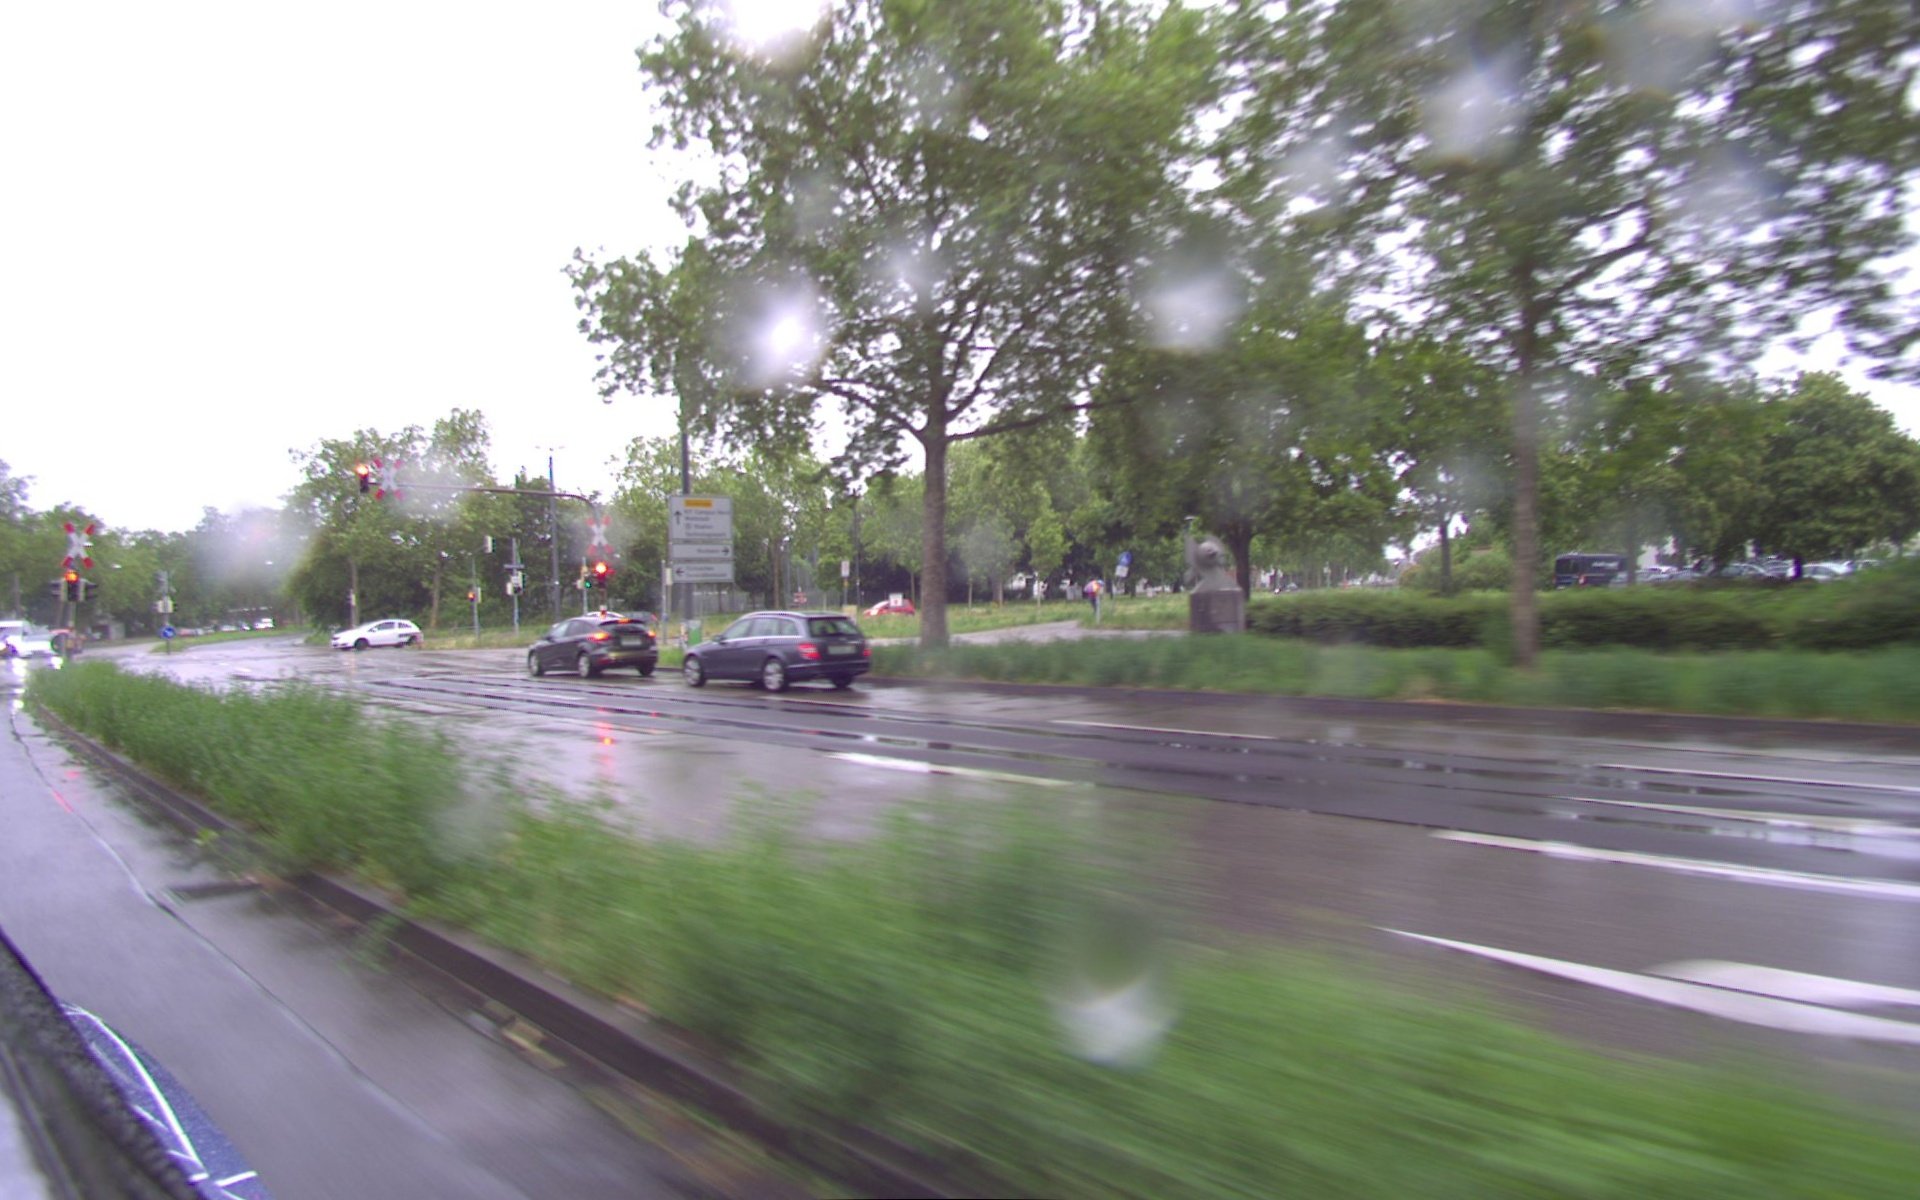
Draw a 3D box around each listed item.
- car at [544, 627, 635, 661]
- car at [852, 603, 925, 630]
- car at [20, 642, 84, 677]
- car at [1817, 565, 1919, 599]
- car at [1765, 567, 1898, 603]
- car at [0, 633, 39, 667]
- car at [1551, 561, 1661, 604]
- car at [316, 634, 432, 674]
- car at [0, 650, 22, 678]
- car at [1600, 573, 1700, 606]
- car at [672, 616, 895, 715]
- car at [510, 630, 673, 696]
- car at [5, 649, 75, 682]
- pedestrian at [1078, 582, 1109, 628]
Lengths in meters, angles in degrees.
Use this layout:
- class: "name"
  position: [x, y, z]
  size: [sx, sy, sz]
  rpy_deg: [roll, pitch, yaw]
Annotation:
- class: "car"
  position: [-20.708, 2.402, 56.569]
  size: [4.427, 1.642, 2.006]
  rpy_deg: [-2, 0, -30]
- class: "car"
  position: [-4.794, 1.122, 68.146]
  size: [4.445, 1.642, 2.006]
  rpy_deg: [-2, 0, -30]
- class: "car"
  position: [-56.677, 3.673, 63.275]
  size: [1.966, 1.901, 4.536]
  rpy_deg: [-2, 0, -29]
- class: "car"
  position: [56.985, -1.090, 63.480]
  size: [1.966, 1.916, 4.512]
  rpy_deg: [-2, 0, -17]
- class: "car"
  position: [42.275, -0.702, 49.230]
  size: [1.966, 1.549, 4.512]
  rpy_deg: [-2, 0, -17]
- class: "car"
  position: [-64.311, 3.370, 68.317]
  size: [1.966, 2.124, 5.159]
  rpy_deg: [-2, 0, -29]
- class: "car"
  position: [36.048, -0.956, 56.480]
  size: [5.325, 2.190, 2.006]
  rpy_deg: [-2, 0, -15]
- class: "car"
  position: [-28.552, 2.584, 49.388]
  size: [1.997, 1.642, 4.465]
  rpy_deg: [-2, 0, 37]
- class: "car"
  position: [-60.597, 4.036, 63.122]
  size: [1.966, 1.642, 4.536]
  rpy_deg: [-2, 0, -29]
- class: "car"
  position: [36.812, -0.553, 54.047]
  size: [4.422, 1.549, 2.006]
  rpy_deg: [-2, 0, -16]
- class: "car"
  position: [-3.487, 1.194, 19.491]
  size: [4.331, 1.643, 1.972]
  rpy_deg: [-2, 0, 42]
- class: "car"
  position: [-9.150, 1.498, 24.949]
  size: [4.331, 1.384, 1.972]
  rpy_deg: [-2, 0, 42]
- class: "car"
  position: [-53.003, 3.747, 58.420]
  size: [1.966, 1.642, 4.536]
  rpy_deg: [-2, 0, -29]
- class: "pedestrian"
  position: [6.104, 0.236, 46.164]
  size: [0.886, 2.029, 1.020]
  rpy_deg: [-2, -1, -43]
